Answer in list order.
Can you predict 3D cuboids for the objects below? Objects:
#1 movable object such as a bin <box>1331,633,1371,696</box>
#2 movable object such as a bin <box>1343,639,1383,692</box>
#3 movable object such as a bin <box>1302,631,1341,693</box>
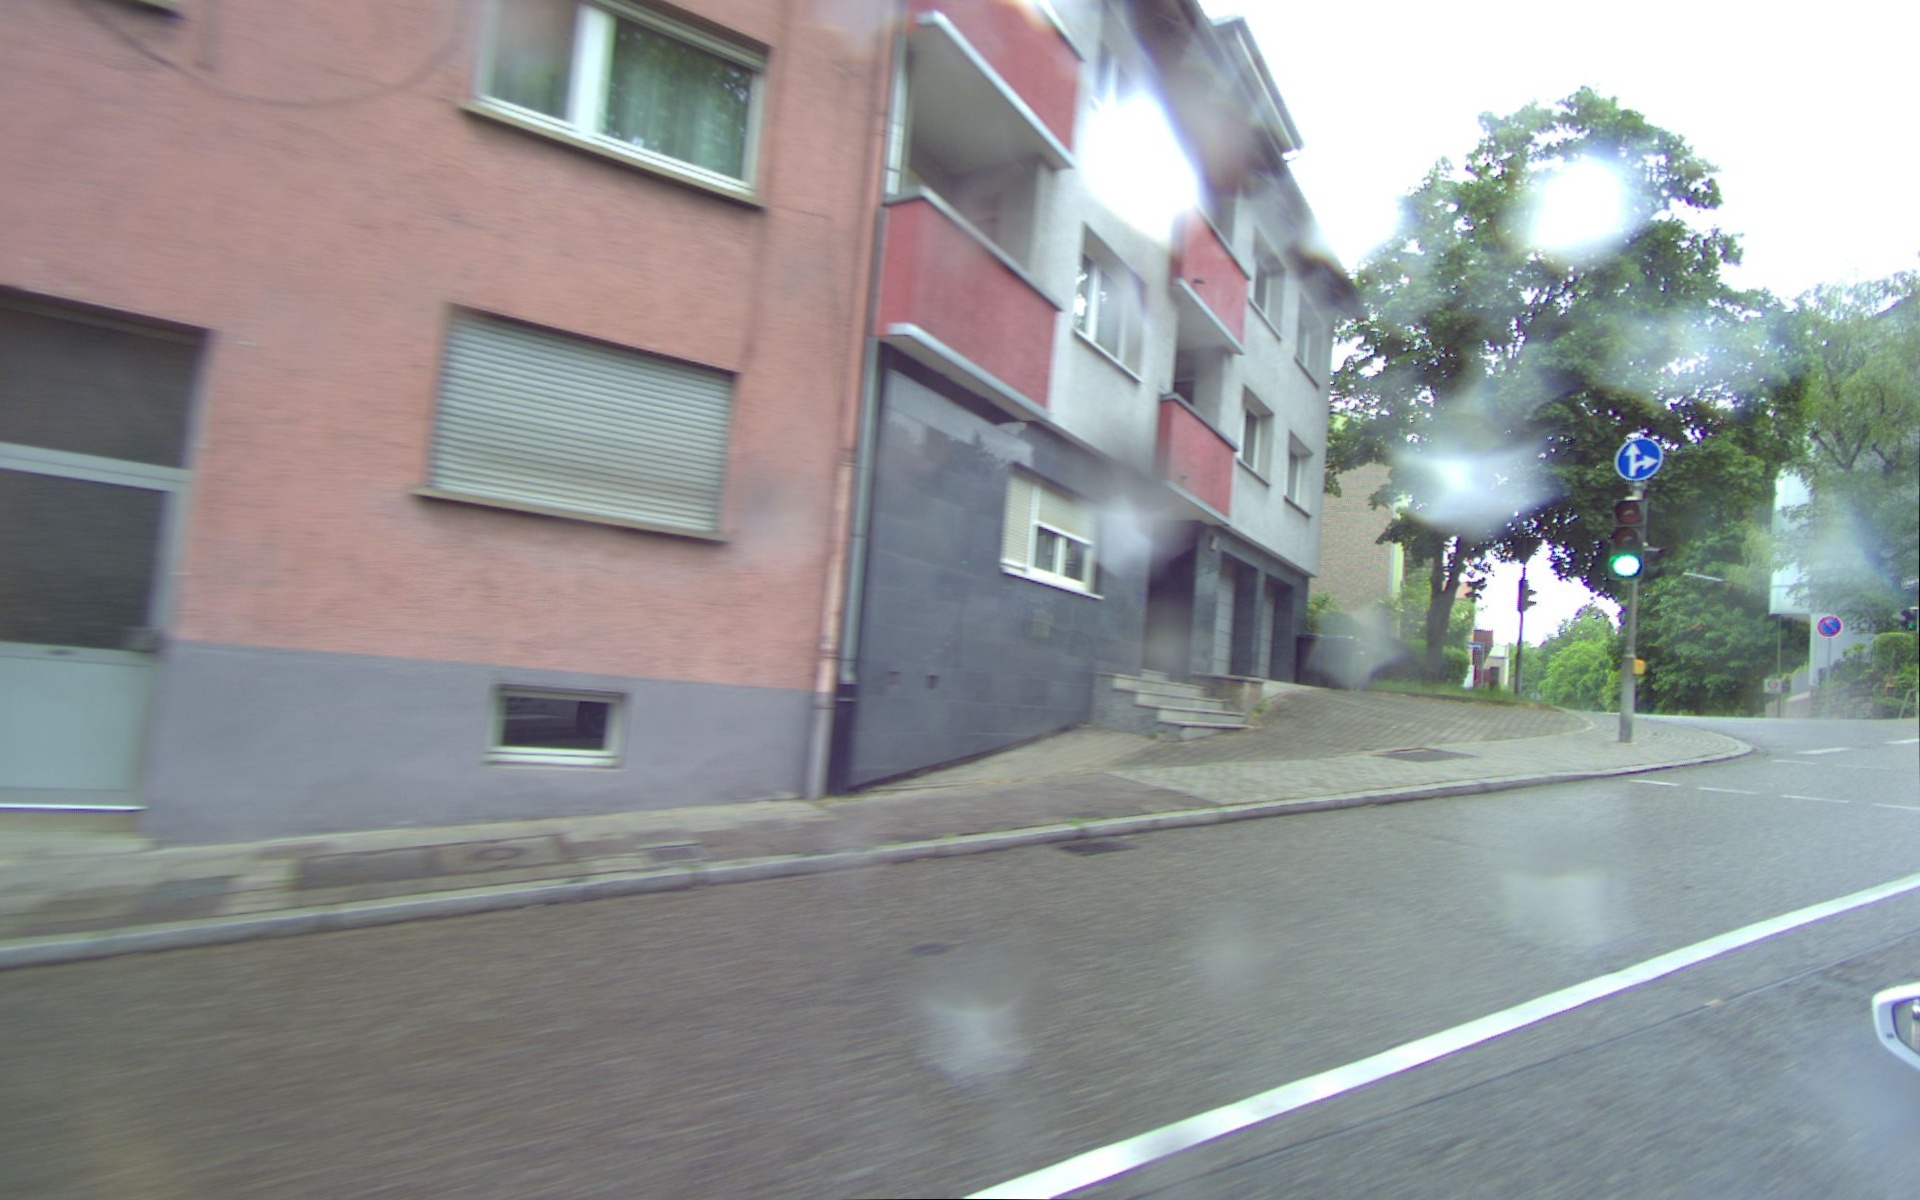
[{"bbox_3d":[7.858,1.283,20.174,0.552,1.215,0.687,2,-2,35],"label":"movable object such as a bin"},{"bbox_3d":[8.288,1.341,20.643,0.619,1.029,0.499,2,-2,36],"label":"movable object such as a bin"},{"bbox_3d":[7.377,1.266,20.493,0.552,1.215,0.687,2,-2,35],"label":"movable object such as a bin"}]
